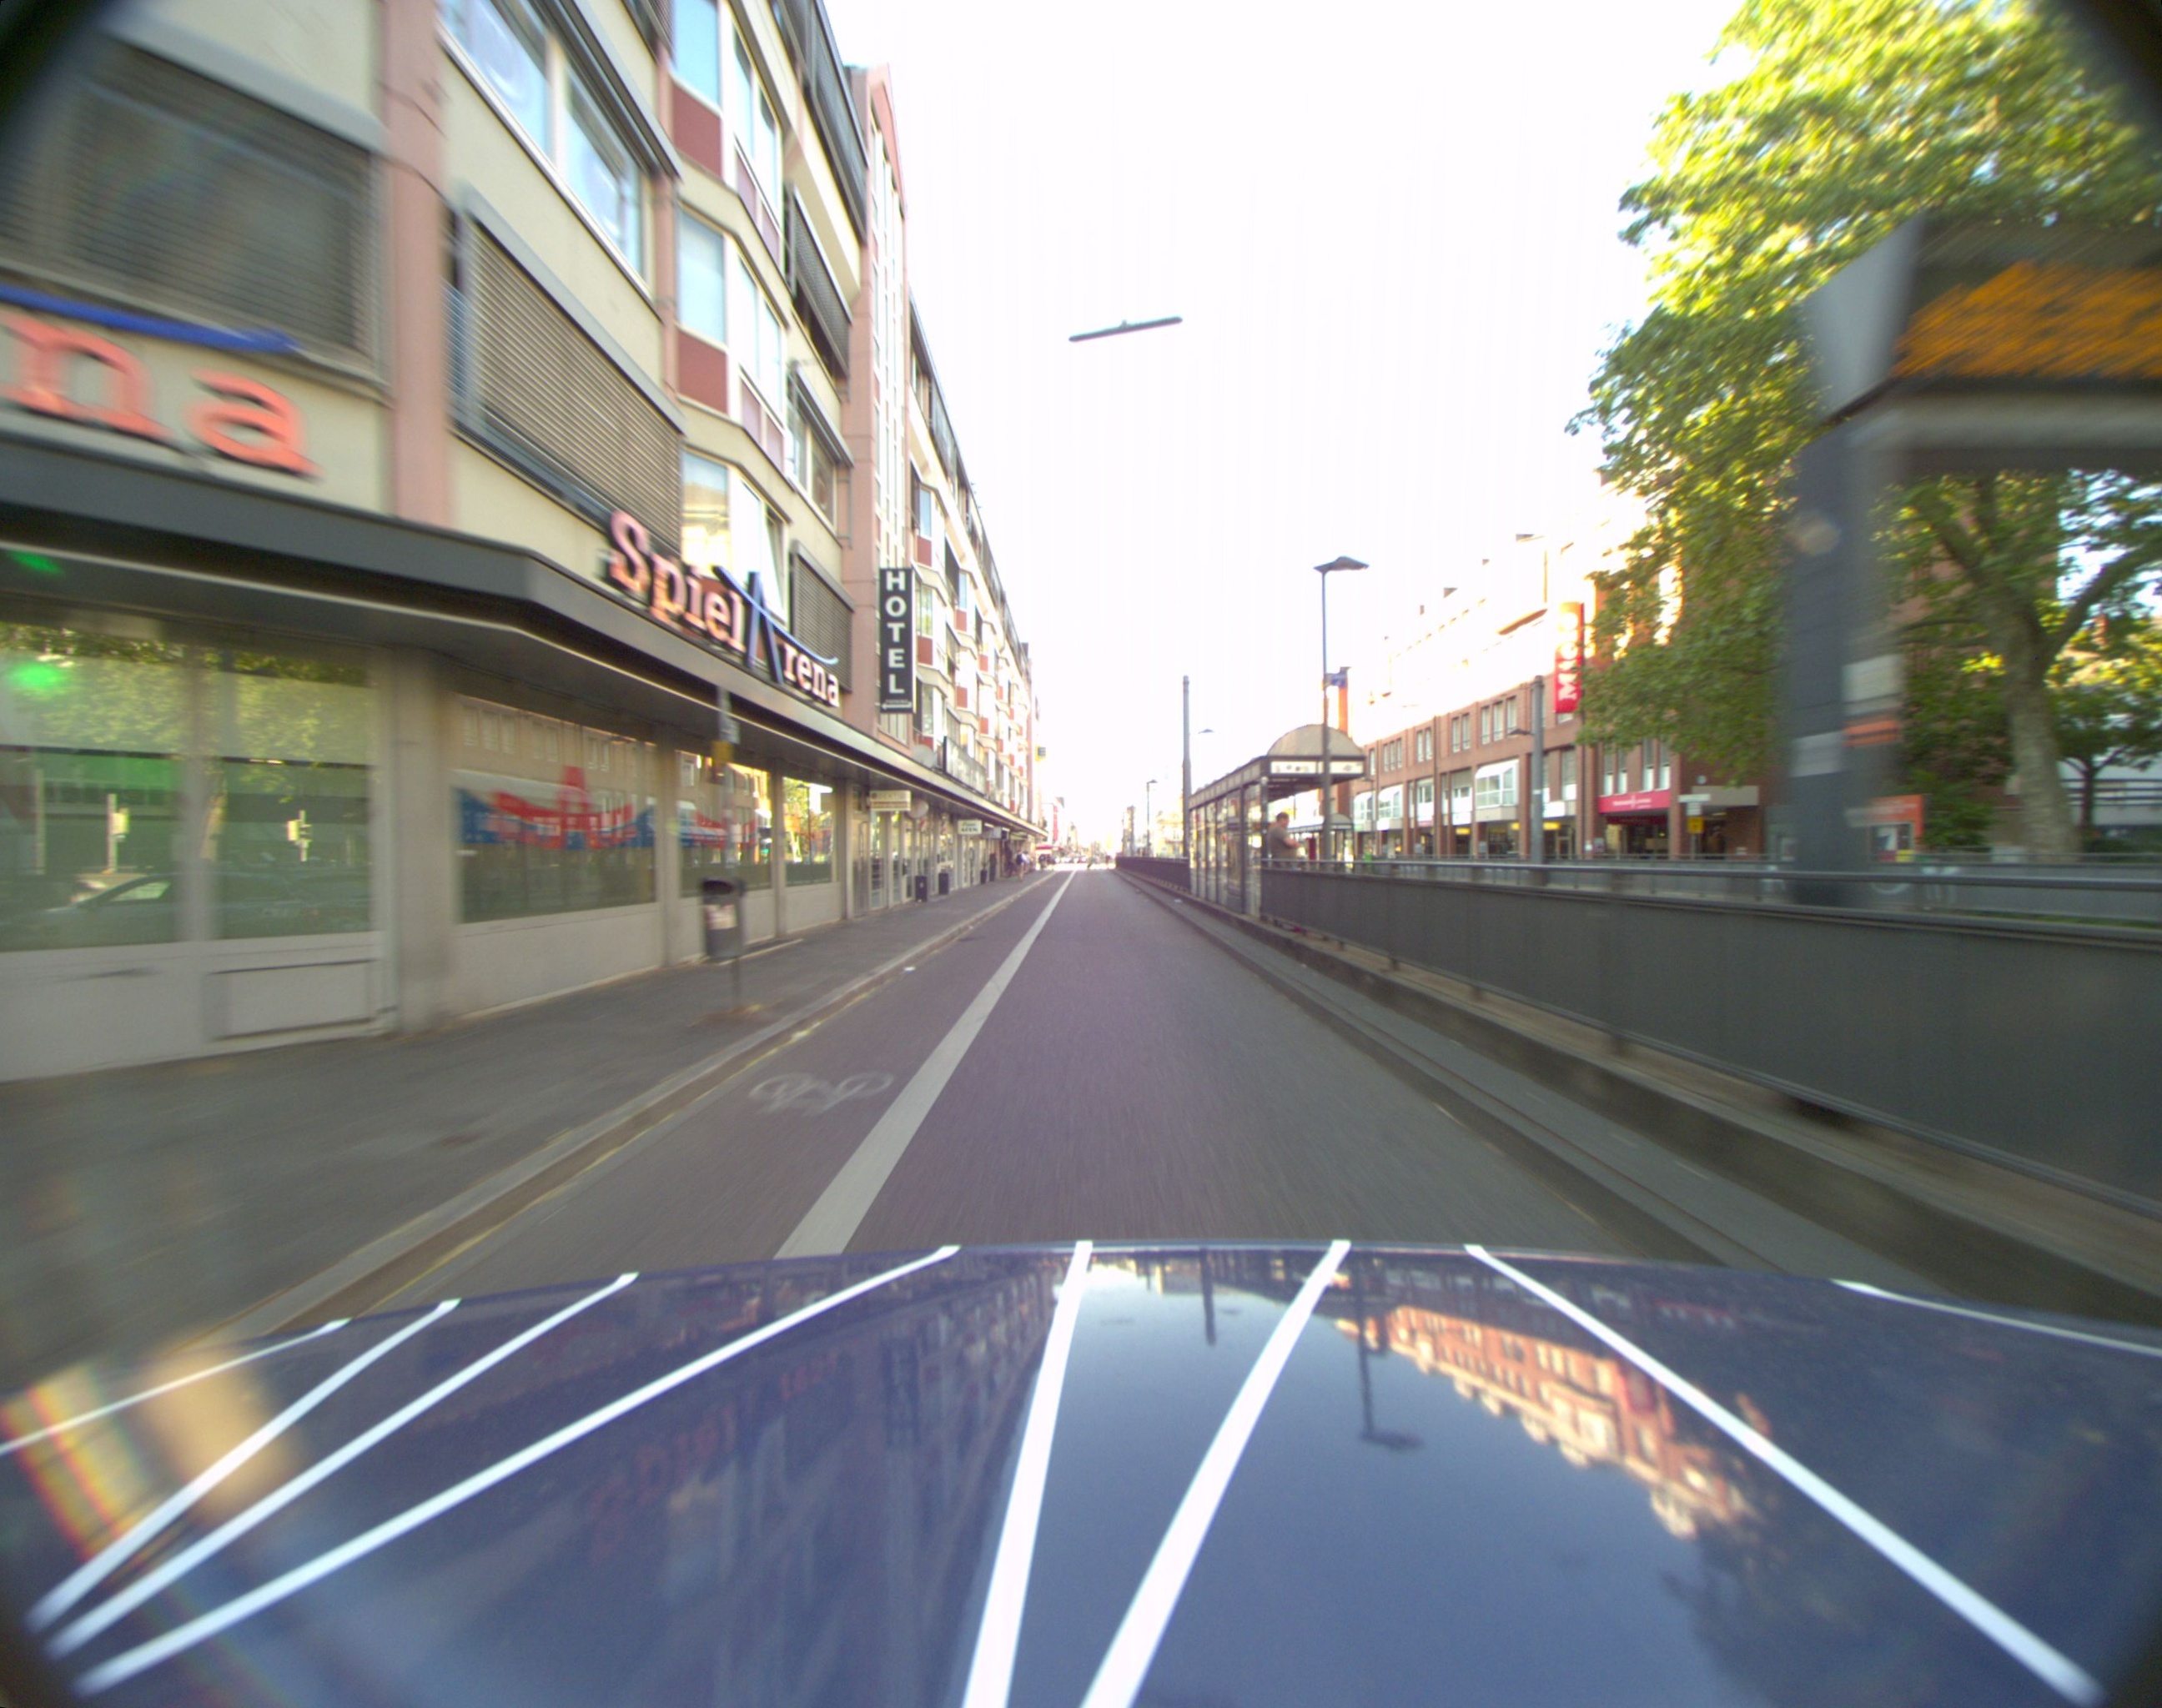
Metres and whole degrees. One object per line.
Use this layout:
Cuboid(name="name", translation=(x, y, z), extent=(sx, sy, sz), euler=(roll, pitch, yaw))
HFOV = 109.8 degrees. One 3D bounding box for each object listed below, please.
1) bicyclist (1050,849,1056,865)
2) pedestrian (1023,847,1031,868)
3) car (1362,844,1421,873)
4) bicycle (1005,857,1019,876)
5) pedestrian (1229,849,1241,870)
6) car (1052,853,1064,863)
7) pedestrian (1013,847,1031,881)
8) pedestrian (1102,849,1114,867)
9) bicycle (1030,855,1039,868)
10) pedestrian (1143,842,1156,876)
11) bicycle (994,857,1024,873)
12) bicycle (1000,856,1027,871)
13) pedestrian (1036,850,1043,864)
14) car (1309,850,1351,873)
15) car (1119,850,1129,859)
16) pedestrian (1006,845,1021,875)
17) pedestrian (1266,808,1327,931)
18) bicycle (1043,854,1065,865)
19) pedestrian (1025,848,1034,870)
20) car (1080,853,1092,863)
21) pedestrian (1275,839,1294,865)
Cuboid(name="bicyclist", translation=(-2.894, 0.323, 78.874), extent=(0.637, 1.668, 0.768), euler=(-1, 1, -3))
Cuboid(name="pedestrian", translation=(-4.185, 0.275, 59.097), extent=(0.406, 1.586, 0.462), euler=(3, 1, 28))
Cuboid(name="car", translation=(19.002, 0.229, 46.660), extent=(1.914, 1.585, 4.289), euler=(1, 2, 1))
Cuboid(name="bicycle", translation=(-4.158, 0.748, 45.810), extent=(0.659, 1.061, 1.794), euler=(4, 1, 0))
Cuboid(name="pedestrian", translation=(13.520, 0.447, 66.691), extent=(0.860, 1.757, 0.811), euler=(-3, 1, 2))
Cuboid(name="car", translation=(-4.004, 0.668, 130.131), extent=(1.972, 1.664, 4.874), euler=(-2, 0, -2))
Cuboid(name="pedestrian", translation=(-3.123, 0.514, 40.340), extent=(0.800, 1.713, 1.061), euler=(2, 2, 1))
Cuboid(name="pedestrian", translation=(2.780, 0.427, 77.280), extent=(0.812, 1.793, 0.859), euler=(-4, 1, -28))
Cuboid(name="bicycle", translation=(-3.892, 0.623, 63.743), extent=(0.678, 0.971, 1.842), euler=(4, 1, -3))
Cuboid(name="pedestrian", translation=(3.627, 0.258, 40.409), extent=(0.584, 1.781, 0.606), euler=(-1, 1, -1))
Cuboid(name="bicycle", translation=(-4.900, 0.751, 51.658), extent=(1.929, 1.054, 0.576), euler=(1, 1, 0))
Cuboid(name="bicycle", translation=(-4.717, 0.653, 53.015), extent=(1.734, 0.968, 0.506), euler=(2, 1, 5))
Cuboid(name="pedestrian", translation=(-6.206, 0.421, 114.134), extent=(0.747, 2.002, 1.070), euler=(-4, 1, -12))
Cuboid(name="car", translation=(19.438, 0.531, 59.581), extent=(1.914, 1.585, 4.289), euler=(1, 2, 1))
Cuboid(name="car", translation=(11.802, 0.103, 209.670), extent=(2.540, 2.441, 5.424), euler=(-2, 0, 6))
Cuboid(name="pedestrian", translation=(-4.304, 0.369, 48.340), extent=(0.917, 1.856, 0.779), euler=(1, 2, -3))
Cuboid(name="pedestrian", translation=(3.101, 0.211, 11.001), extent=(0.624, 1.702, 0.850), euler=(-1, 1, 0))
Cuboid(name="bicycle", translation=(-2.794, 0.592, 78.888), extent=(2.176, 1.117, 0.768), euler=(-1, 1, -3))
Cuboid(name="pedestrian", translation=(-3.784, 0.364, 56.024), extent=(0.634, 1.664, 0.771), euler=(0, 1, 1))
Cuboid(name="car", translation=(0.843, 0.699, 135.413), extent=(1.971, 1.664, 4.875), euler=(-2, 0, 0))
Cuboid(name="pedestrian", translation=(12.939, -0.131, 48.327), extent=(0.913, 1.652, 0.967), euler=(-1, 1, 0))
